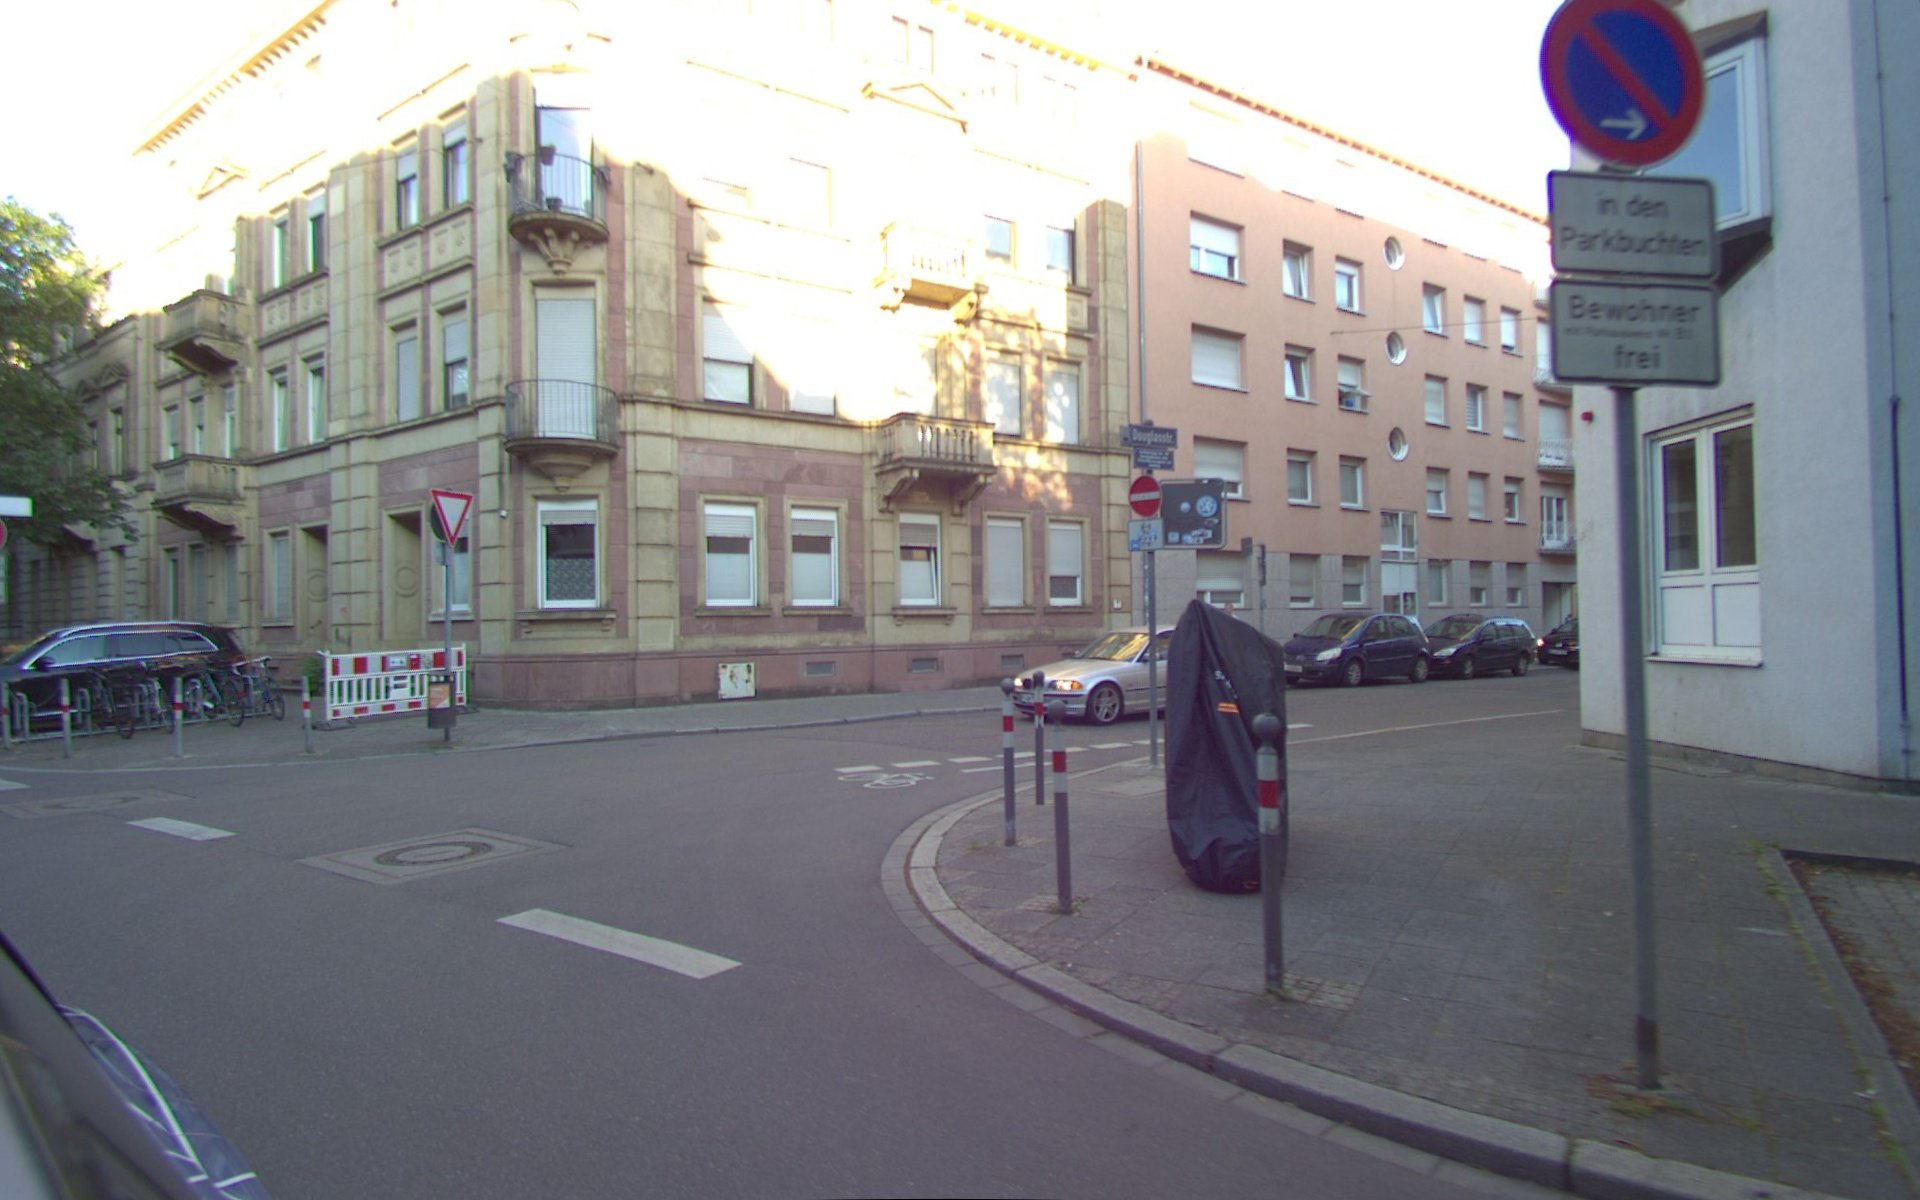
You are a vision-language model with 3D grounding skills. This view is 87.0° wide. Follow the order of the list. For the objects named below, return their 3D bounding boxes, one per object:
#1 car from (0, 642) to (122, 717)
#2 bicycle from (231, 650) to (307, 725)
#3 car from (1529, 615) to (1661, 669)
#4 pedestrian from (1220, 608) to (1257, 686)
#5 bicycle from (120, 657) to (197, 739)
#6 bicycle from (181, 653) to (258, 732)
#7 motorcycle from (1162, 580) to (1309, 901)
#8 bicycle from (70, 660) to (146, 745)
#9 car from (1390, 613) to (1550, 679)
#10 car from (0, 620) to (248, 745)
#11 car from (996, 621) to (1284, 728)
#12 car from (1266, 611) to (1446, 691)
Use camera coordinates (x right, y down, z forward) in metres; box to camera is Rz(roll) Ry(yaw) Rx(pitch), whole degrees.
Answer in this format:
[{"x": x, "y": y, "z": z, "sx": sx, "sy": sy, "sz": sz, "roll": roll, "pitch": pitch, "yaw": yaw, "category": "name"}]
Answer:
[{"x": -20.495, "y": 1.674, "z": 21.078, "sx": 1.773, "sy": 1.499, "sz": 4.392, "roll": -3, "pitch": -2, "yaw": 35, "category": "car"}, {"x": -11.007, "y": 1.371, "z": 16.093, "sx": 1.866, "sy": 1.097, "sz": 0.360, "roll": -1, "pitch": 0, "yaw": 35, "category": "bicycle"}, {"x": 18.618, "y": 1.204, "z": 29.628, "sx": 4.062, "sy": 1.469, "sz": 1.699, "roll": 0, "pitch": -3, "yaw": -34, "category": "car"}, {"x": 6.423, "y": 1.080, "z": 23.328, "sx": 0.559, "sy": 1.757, "sz": 0.552, "roll": 1, "pitch": -3, "yaw": -34, "category": "pedestrian"}, {"x": -11.837, "y": 1.412, "z": 14.926, "sx": 1.866, "sy": 1.097, "sz": 0.360, "roll": -1, "pitch": 0, "yaw": 35, "category": "bicycle"}, {"x": -11.380, "y": 1.394, "z": 15.530, "sx": 1.866, "sy": 1.097, "sz": 0.360, "roll": -1, "pitch": 0, "yaw": 35, "category": "bicycle"}, {"x": 1.616, "y": 0.718, "z": 6.080, "sx": 0.663, "sy": 1.567, "sz": 2.152, "roll": -1, "pitch": -2, "yaw": 14, "category": "motorcycle"}, {"x": -12.137, "y": 1.430, "z": 14.395, "sx": 1.866, "sy": 1.097, "sz": 0.360, "roll": -1, "pitch": 0, "yaw": 35, "category": "bicycle"}, {"x": 12.876, "y": 1.129, "z": 25.499, "sx": 4.211, "sy": 1.525, "sz": 1.699, "roll": 0, "pitch": -3, "yaw": -34, "category": "car"}, {"x": -14.442, "y": 1.272, "z": 16.300, "sx": 1.773, "sy": 1.751, "sz": 4.537, "roll": -1, "pitch": 0, "yaw": 35, "category": "car"}, {"x": 2.848, "y": 1.089, "z": 15.640, "sx": 4.396, "sy": 1.414, "sz": 1.687, "roll": 0, "pitch": -4, "yaw": -33, "category": "car"}, {"x": 8.934, "y": 1.103, "z": 22.749, "sx": 3.986, "sy": 1.637, "sz": 1.700, "roll": 0, "pitch": -3, "yaw": -32, "category": "car"}]
